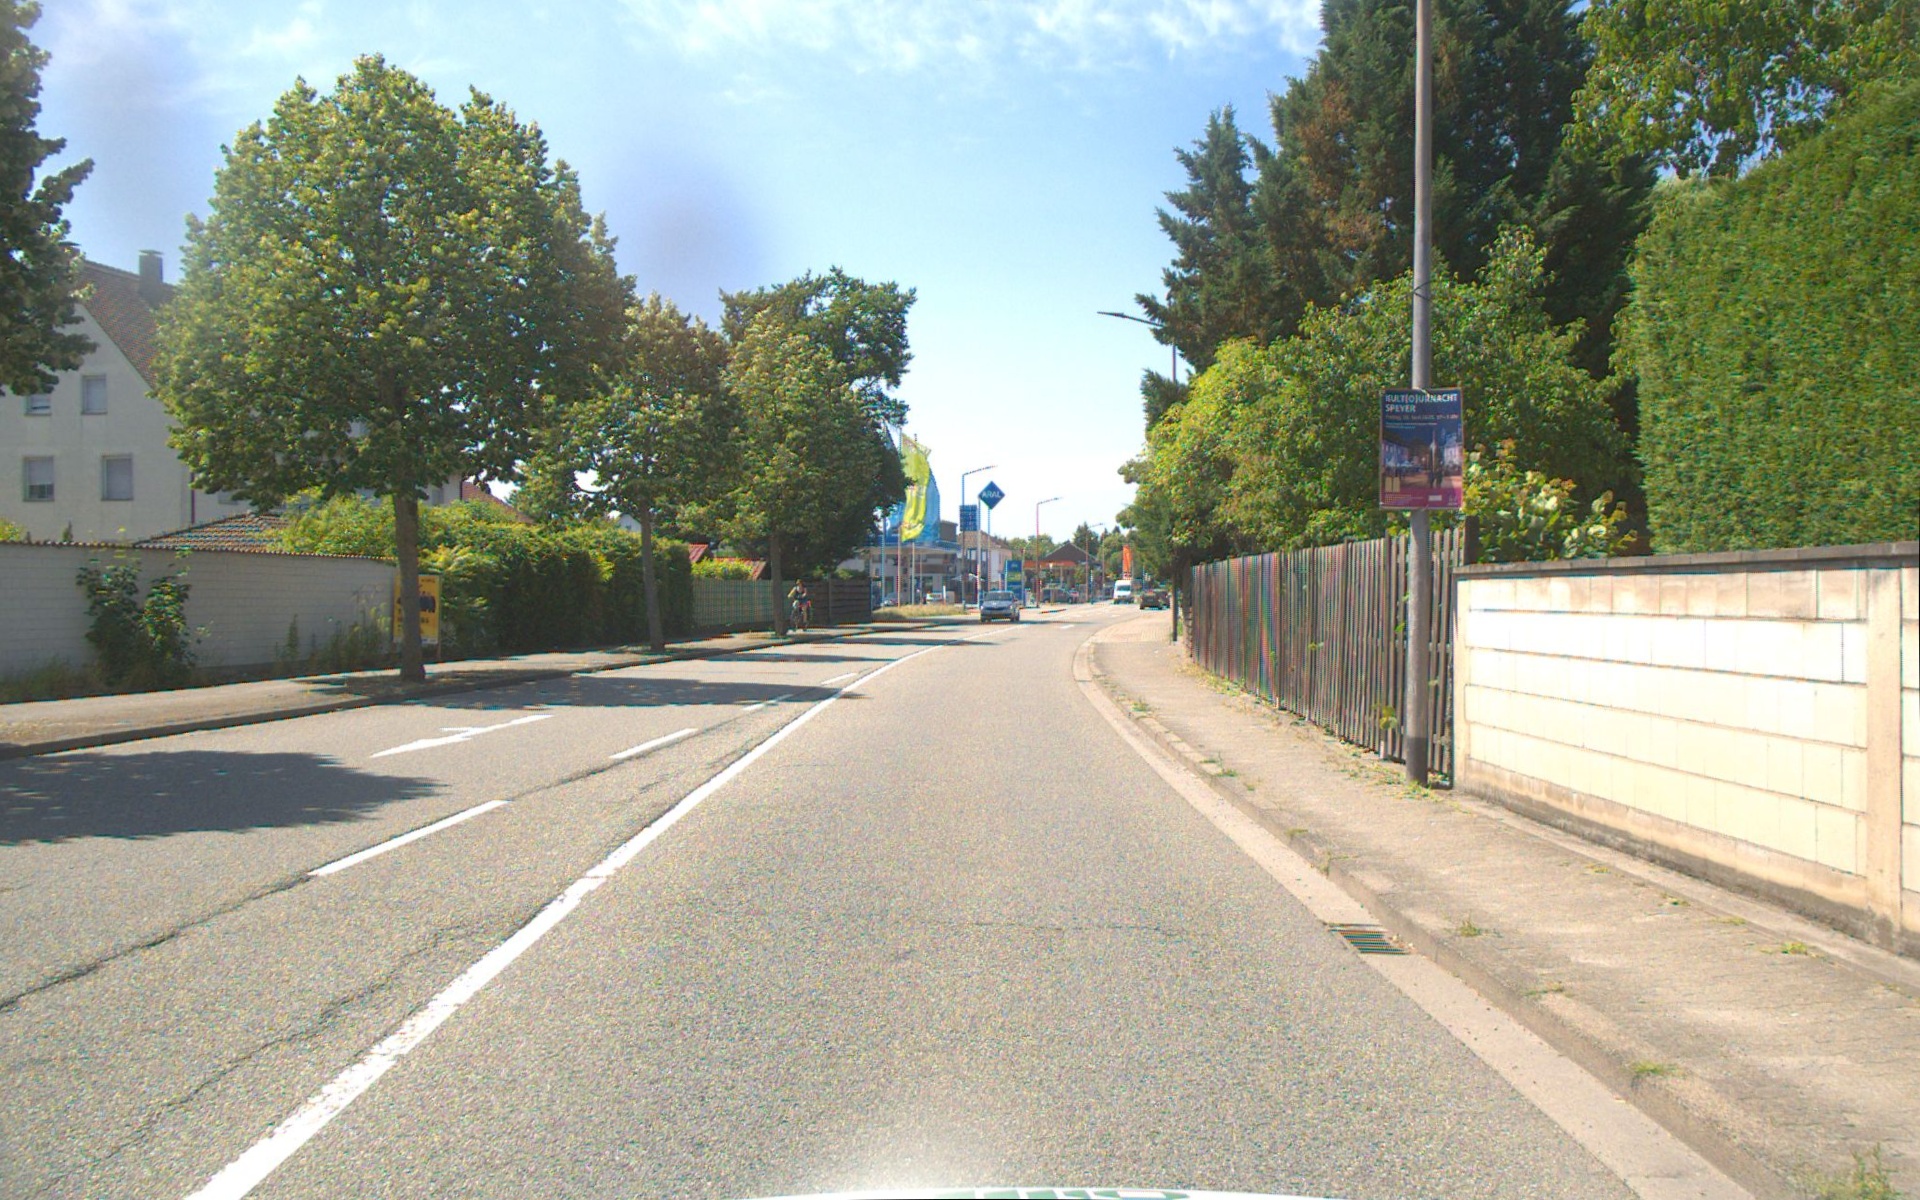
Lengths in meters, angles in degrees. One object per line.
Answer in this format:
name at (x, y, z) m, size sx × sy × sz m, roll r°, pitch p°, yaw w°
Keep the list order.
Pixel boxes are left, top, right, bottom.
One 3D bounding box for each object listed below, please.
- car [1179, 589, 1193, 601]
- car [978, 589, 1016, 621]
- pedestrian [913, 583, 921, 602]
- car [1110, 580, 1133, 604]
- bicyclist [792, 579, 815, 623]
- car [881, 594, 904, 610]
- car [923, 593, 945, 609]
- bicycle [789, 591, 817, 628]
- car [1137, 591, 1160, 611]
car at (27.422, -0.606, 200.477) m, size 1.630 × 1.481 × 3.475 m, roll 0°, pitch 0°, yaw 9°
car at (1.813, 0.204, 80.421) m, size 1.578 × 1.508 × 3.710 m, roll 0°, pitch 0°, yaw 6°
pedestrian at (-3.993, -0.696, 154.675) m, size 0.601 × 1.720 × 0.706 m, roll -1°, pitch 0°, yaw -16°
car at (18.214, -0.875, 185.931) m, size 1.951 × 2.465 × 5.952 m, roll 1°, pitch -1°, yaw 11°
bicyclist at (-5.244, 0.030, 55.357) m, size 0.615 × 1.433 × 0.677 m, roll -1°, pitch 0°, yaw 5°
car at (-6.220, 0.183, 153.227) m, size 1.583 × 1.445 × 3.714 m, roll -2°, pitch 0°, yaw 5°
car at (-2.380, 0.077, 153.098) m, size 1.583 × 1.445 × 3.714 m, roll -2°, pitch 0°, yaw 5°
bicycle at (-5.248, 0.311, 55.346) m, size 0.619 × 1.200 × 1.817 m, roll -1°, pitch 0°, yaw 5°
car at (14.773, 0.066, 129.659) m, size 1.630 × 1.481 × 3.475 m, roll 0°, pitch 0°, yaw 9°
